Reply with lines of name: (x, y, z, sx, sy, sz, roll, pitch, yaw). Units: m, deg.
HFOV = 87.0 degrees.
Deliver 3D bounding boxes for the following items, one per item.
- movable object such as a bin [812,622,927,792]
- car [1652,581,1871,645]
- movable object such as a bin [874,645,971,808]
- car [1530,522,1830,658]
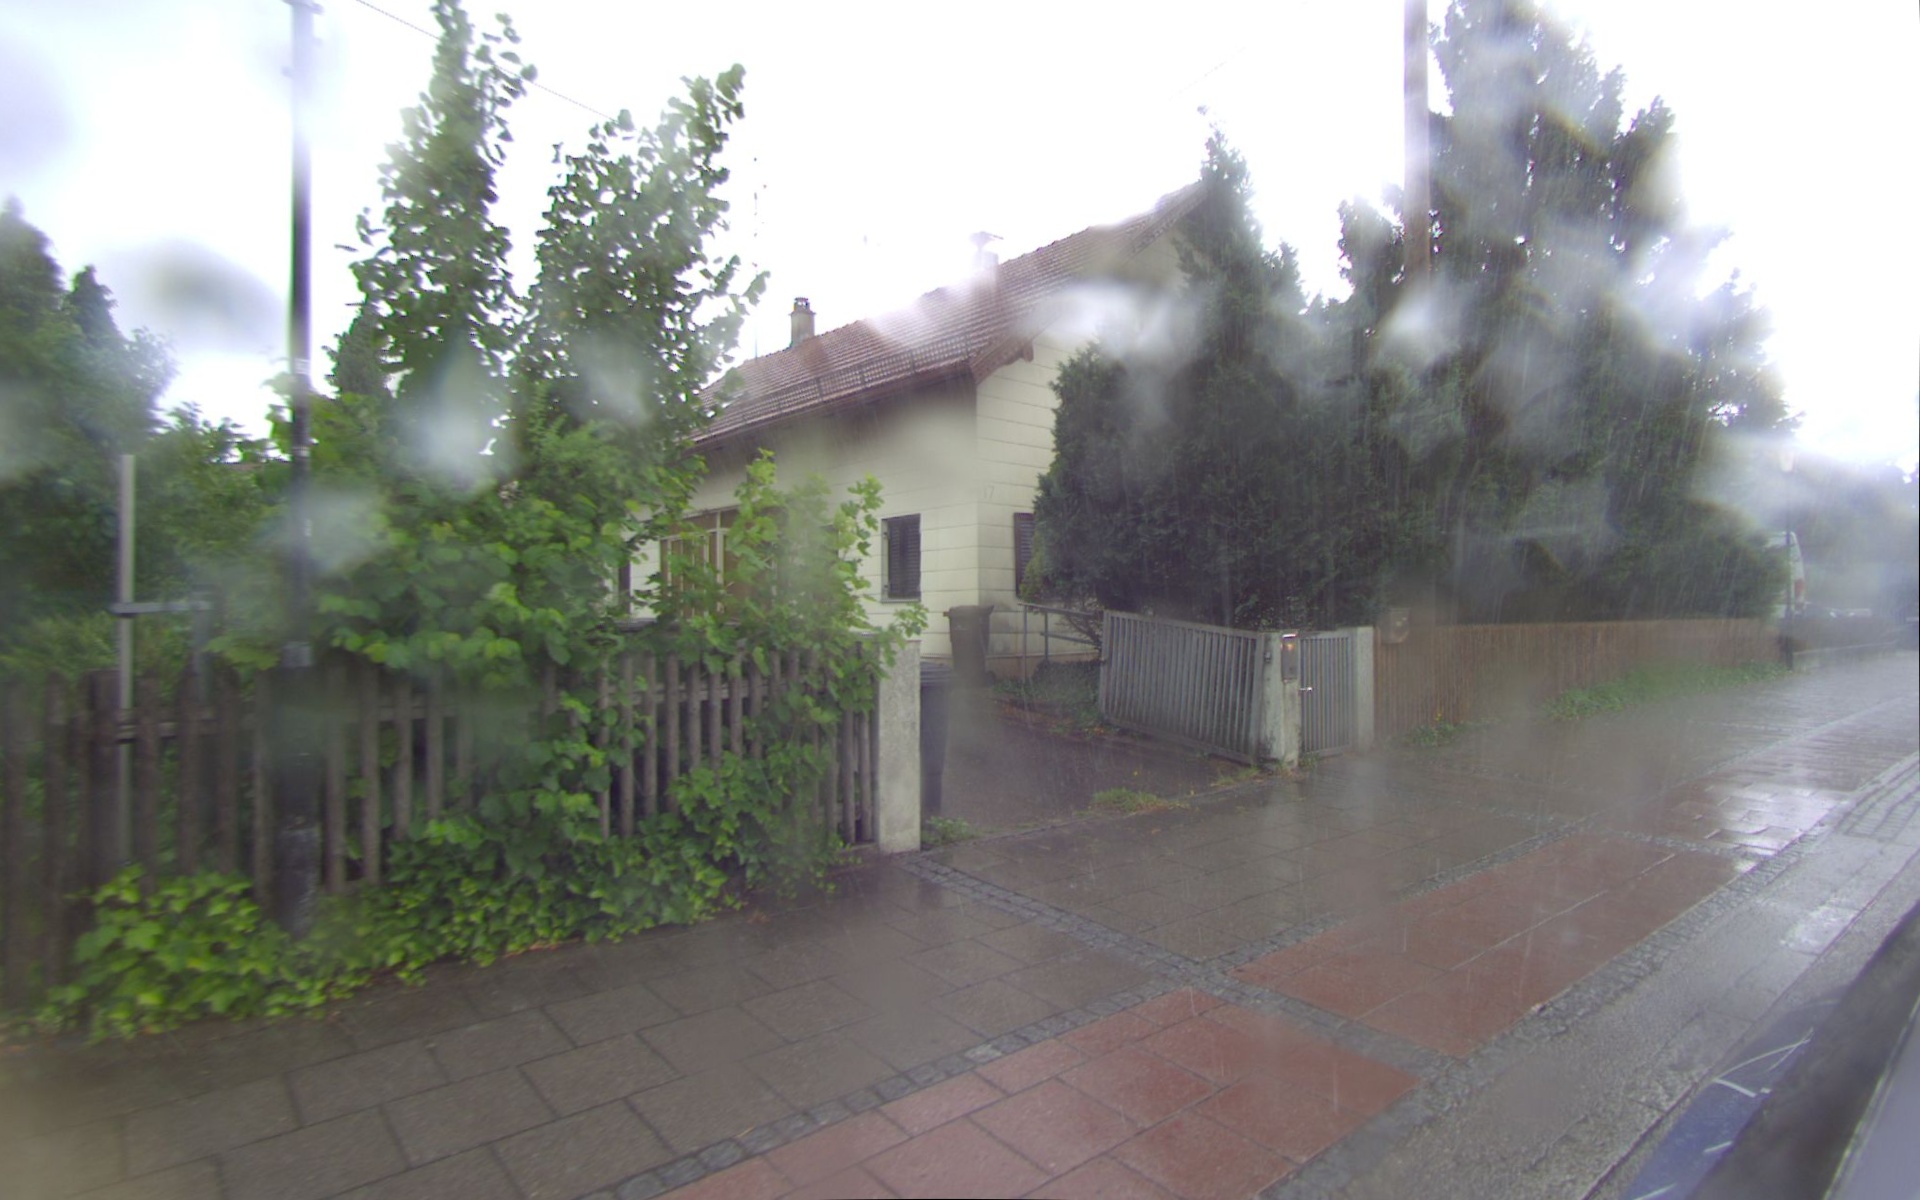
movable object such as a bin: (-0.623, 0.701, 6.940, 0.543, 1.053, 0.577, 0, 2, -39)
car: (21.291, 0.283, 27.009, 4.430, 1.438, 1.802, 3, 3, 44)
movable object such as a bin: (-0.243, 0.786, 6.493, 0.438, 0.947, 0.434, 0, 2, -39)
car: (16.152, -0.316, 22.929, 5.301, 2.761, 1.970, 3, 2, 42)
